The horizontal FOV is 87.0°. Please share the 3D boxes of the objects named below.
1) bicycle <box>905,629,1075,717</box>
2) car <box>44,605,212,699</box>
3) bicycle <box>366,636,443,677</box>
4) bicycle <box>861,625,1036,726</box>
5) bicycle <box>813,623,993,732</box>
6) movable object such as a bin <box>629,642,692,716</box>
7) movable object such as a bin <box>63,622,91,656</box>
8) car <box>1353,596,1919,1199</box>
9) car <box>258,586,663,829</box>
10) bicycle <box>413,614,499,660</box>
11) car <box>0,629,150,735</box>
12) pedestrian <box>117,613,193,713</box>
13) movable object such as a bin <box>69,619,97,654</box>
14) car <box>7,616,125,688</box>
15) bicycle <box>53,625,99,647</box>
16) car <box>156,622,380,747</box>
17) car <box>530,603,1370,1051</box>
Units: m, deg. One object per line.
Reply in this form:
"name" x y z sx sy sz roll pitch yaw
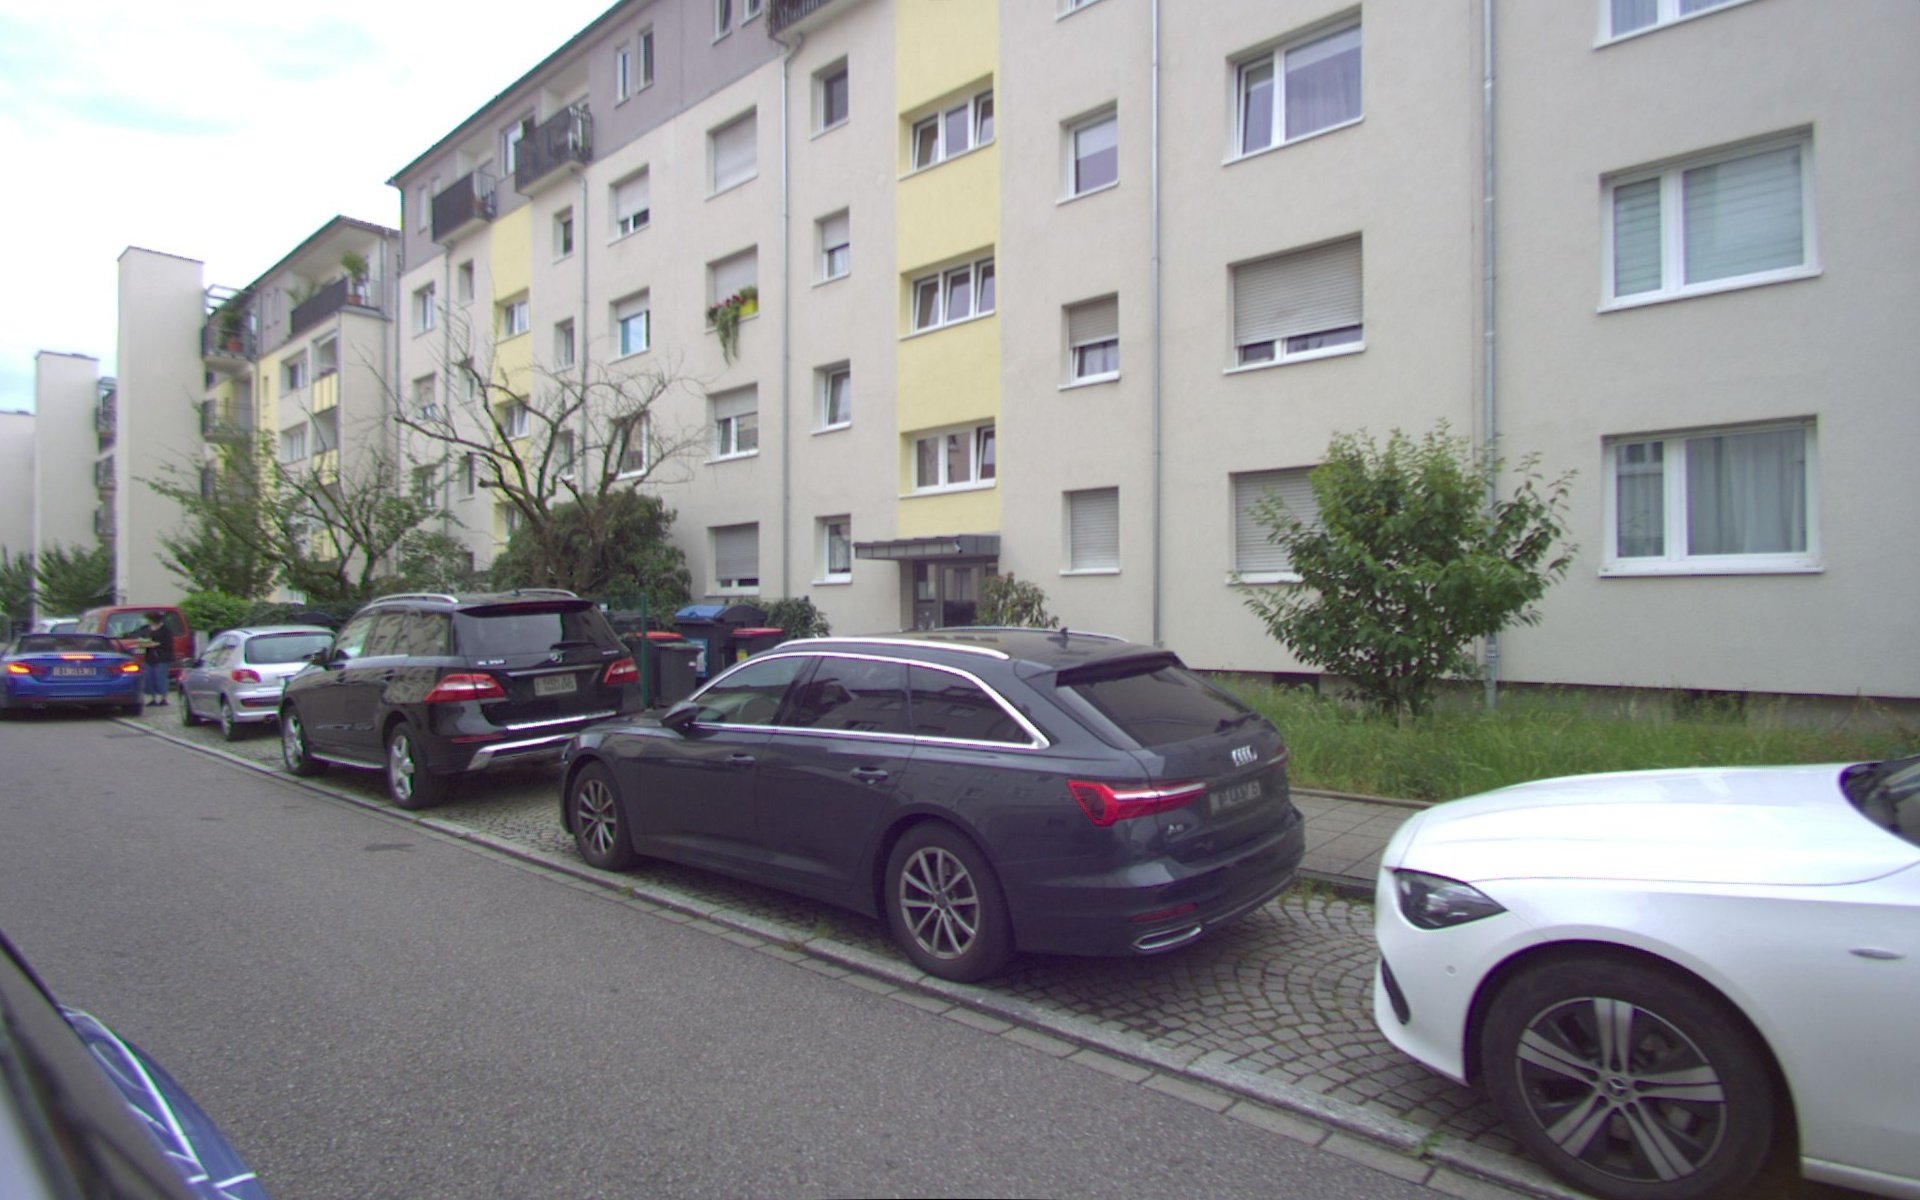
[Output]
"bicycle" 0.368 0.948 13.757 2.354 1.089 0.780 -2 -2 41
"car" -17.937 1.048 21.756 4.357 1.784 1.937 -1 0 39
"bicycle" -12.515 1.238 22.739 2.754 0.854 0.565 -1 -2 40
"bicycle" -0.194 0.936 13.133 2.354 1.195 0.780 -2 -2 41
"bicycle" -0.755 0.907 12.527 2.354 1.221 0.780 -2 -2 41
"movable object such as a bin" -4.041 1.051 13.651 0.635 0.962 0.545 -1 -2 41
"movable object such as a bin" -38.708 1.697 44.367 1.288 1.440 0.795 -1 0 44
"car" 3.505 0.739 2.270 4.517 1.463 1.876 -1 1 40
"car" -4.942 0.824 9.712 4.472 1.753 1.875 -1 1 41
"bicycle" -11.845 0.853 23.740 2.754 1.006 0.769 -1 -2 40
"car" -14.967 1.243 16.711 4.500 1.462 1.825 -1 0 42
"pedestrian" -14.250 1.092 17.918 0.790 1.714 0.738 -1 -2 21
"movable object such as a bin" -37.667 1.553 43.459 1.288 1.440 0.794 -1 0 45
"car" -22.368 1.249 25.291 3.868 1.582 1.703 -1 1 41
"bicycle" -48.730 1.972 55.797 0.604 1.127 1.816 -2 0 39
"car" -9.930 1.088 14.422 3.784 1.476 1.726 -1 1 41
"car" -0.396 0.820 5.721 4.664 1.463 1.875 -1 1 41
